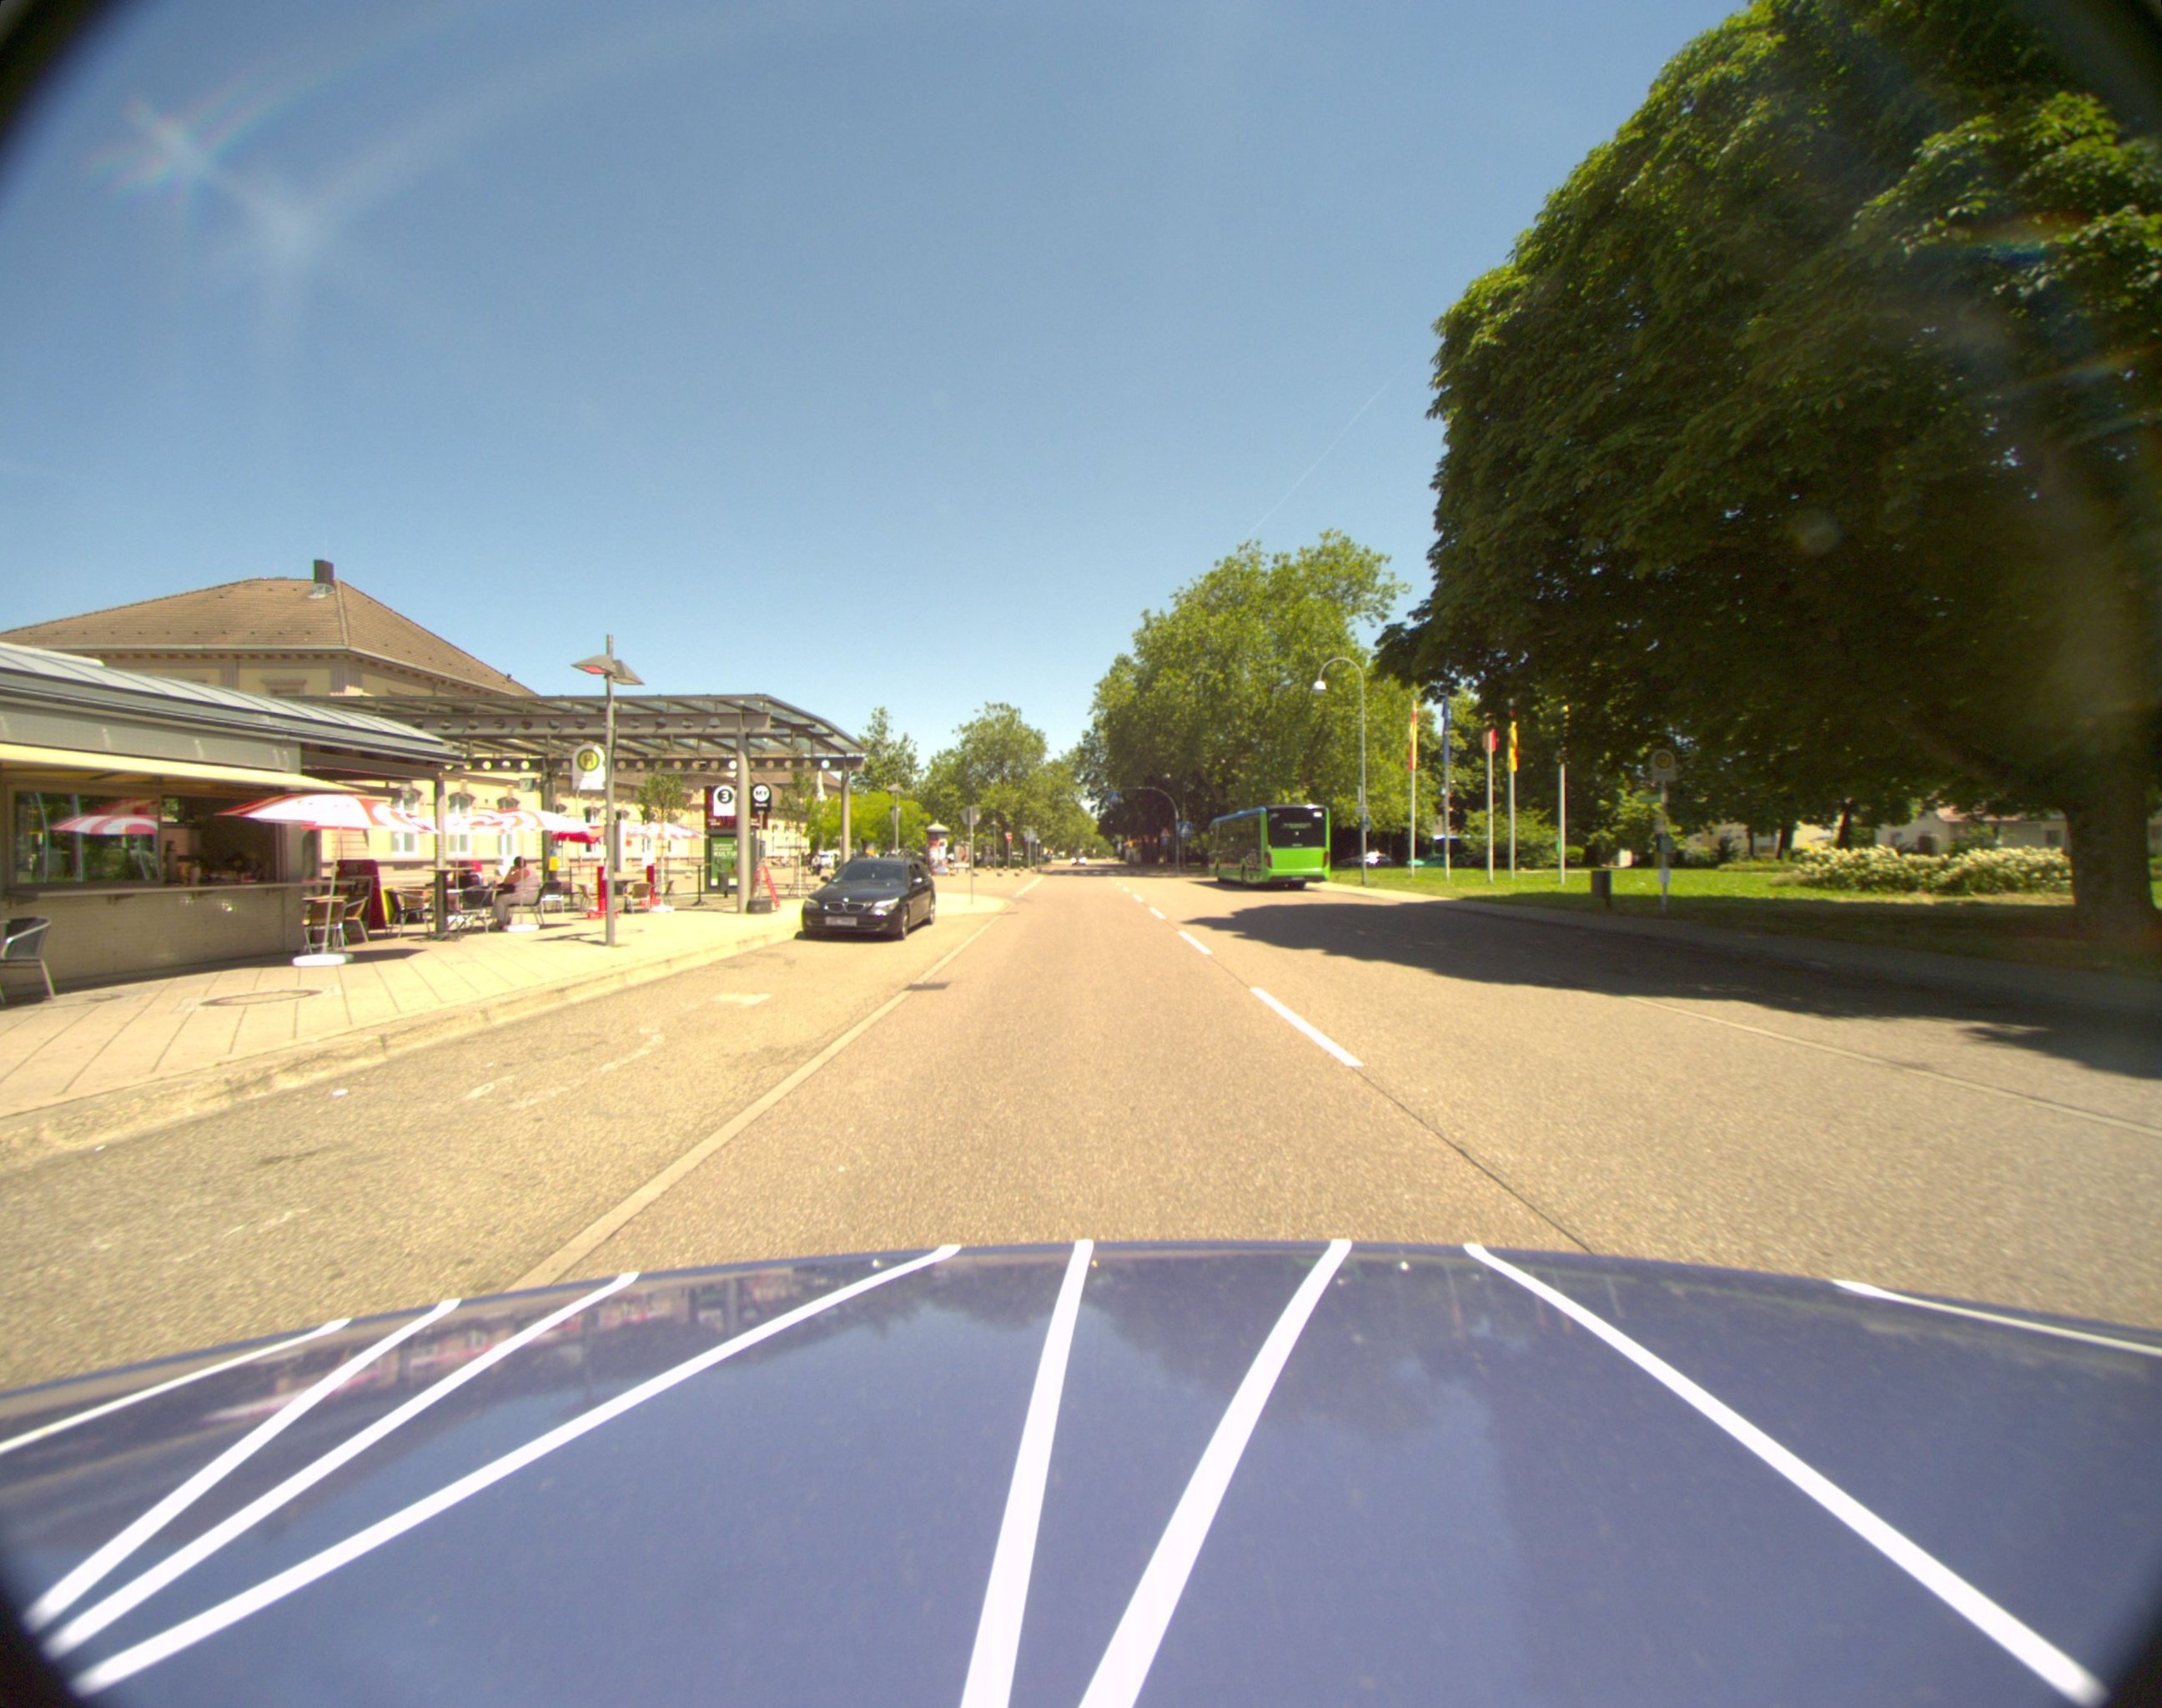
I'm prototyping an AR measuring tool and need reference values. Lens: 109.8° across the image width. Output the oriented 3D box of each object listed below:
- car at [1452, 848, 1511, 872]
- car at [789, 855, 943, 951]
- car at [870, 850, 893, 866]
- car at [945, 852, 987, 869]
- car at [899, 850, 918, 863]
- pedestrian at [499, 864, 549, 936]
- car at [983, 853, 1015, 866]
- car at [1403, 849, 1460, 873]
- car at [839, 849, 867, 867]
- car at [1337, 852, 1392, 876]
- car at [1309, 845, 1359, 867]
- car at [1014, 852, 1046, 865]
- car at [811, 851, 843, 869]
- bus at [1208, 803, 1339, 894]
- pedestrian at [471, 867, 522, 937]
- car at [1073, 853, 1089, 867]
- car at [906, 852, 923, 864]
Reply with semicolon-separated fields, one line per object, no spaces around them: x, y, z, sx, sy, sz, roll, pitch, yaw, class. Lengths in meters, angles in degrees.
34.661;0.536;65.845;3.997;2.002;2.000;0;1;0;car
-4.043;0.837;15.010;1.778;1.536;4.182;1;1;1;car
-26.800;0.523;102.348;1.998;2.002;4.000;0;1;1;car
-11.498;0.618;76.310;3.998;1.655;1.999;0;1;-3;car
-27.520;0.436;121.421;1.998;2.002;4.000;0;1;1;car
-9.865;0.802;13.470;0.504;1.225;0.513;-1;1;-5;pedestrian
-10.763;0.687;99.707;3.999;1.655;1.999;-1;1;-7;car
30.301;0.606;65.739;3.997;2.002;2.000;0;1;0;car
-26.680;0.469;89.166;1.998;2.002;4.000;0;1;1;car
24.420;0.835;65.554;3.996;2.002;2.000;0;1;3;car
23.748;0.187;71.372;3.988;2.002;2.004;0;1;36;car
-6.430;0.569;95.353;3.999;1.655;1.999;-1;1;-7;car
-27.124;0.575;81.254;1.998;1.869;4.000;0;1;1;car
8.041;-0.247;33.751;2.814;3.283;11.855;0;0;0;bus
-10.241;0.830;13.316;0.489;1.204;0.472;0;1;6;pedestrian
0.003;0.692;92.345;1.778;1.536;4.182;1;1;1;car
-28.969;0.702;132.032;1.998;2.002;4.000;0;1;1;car
